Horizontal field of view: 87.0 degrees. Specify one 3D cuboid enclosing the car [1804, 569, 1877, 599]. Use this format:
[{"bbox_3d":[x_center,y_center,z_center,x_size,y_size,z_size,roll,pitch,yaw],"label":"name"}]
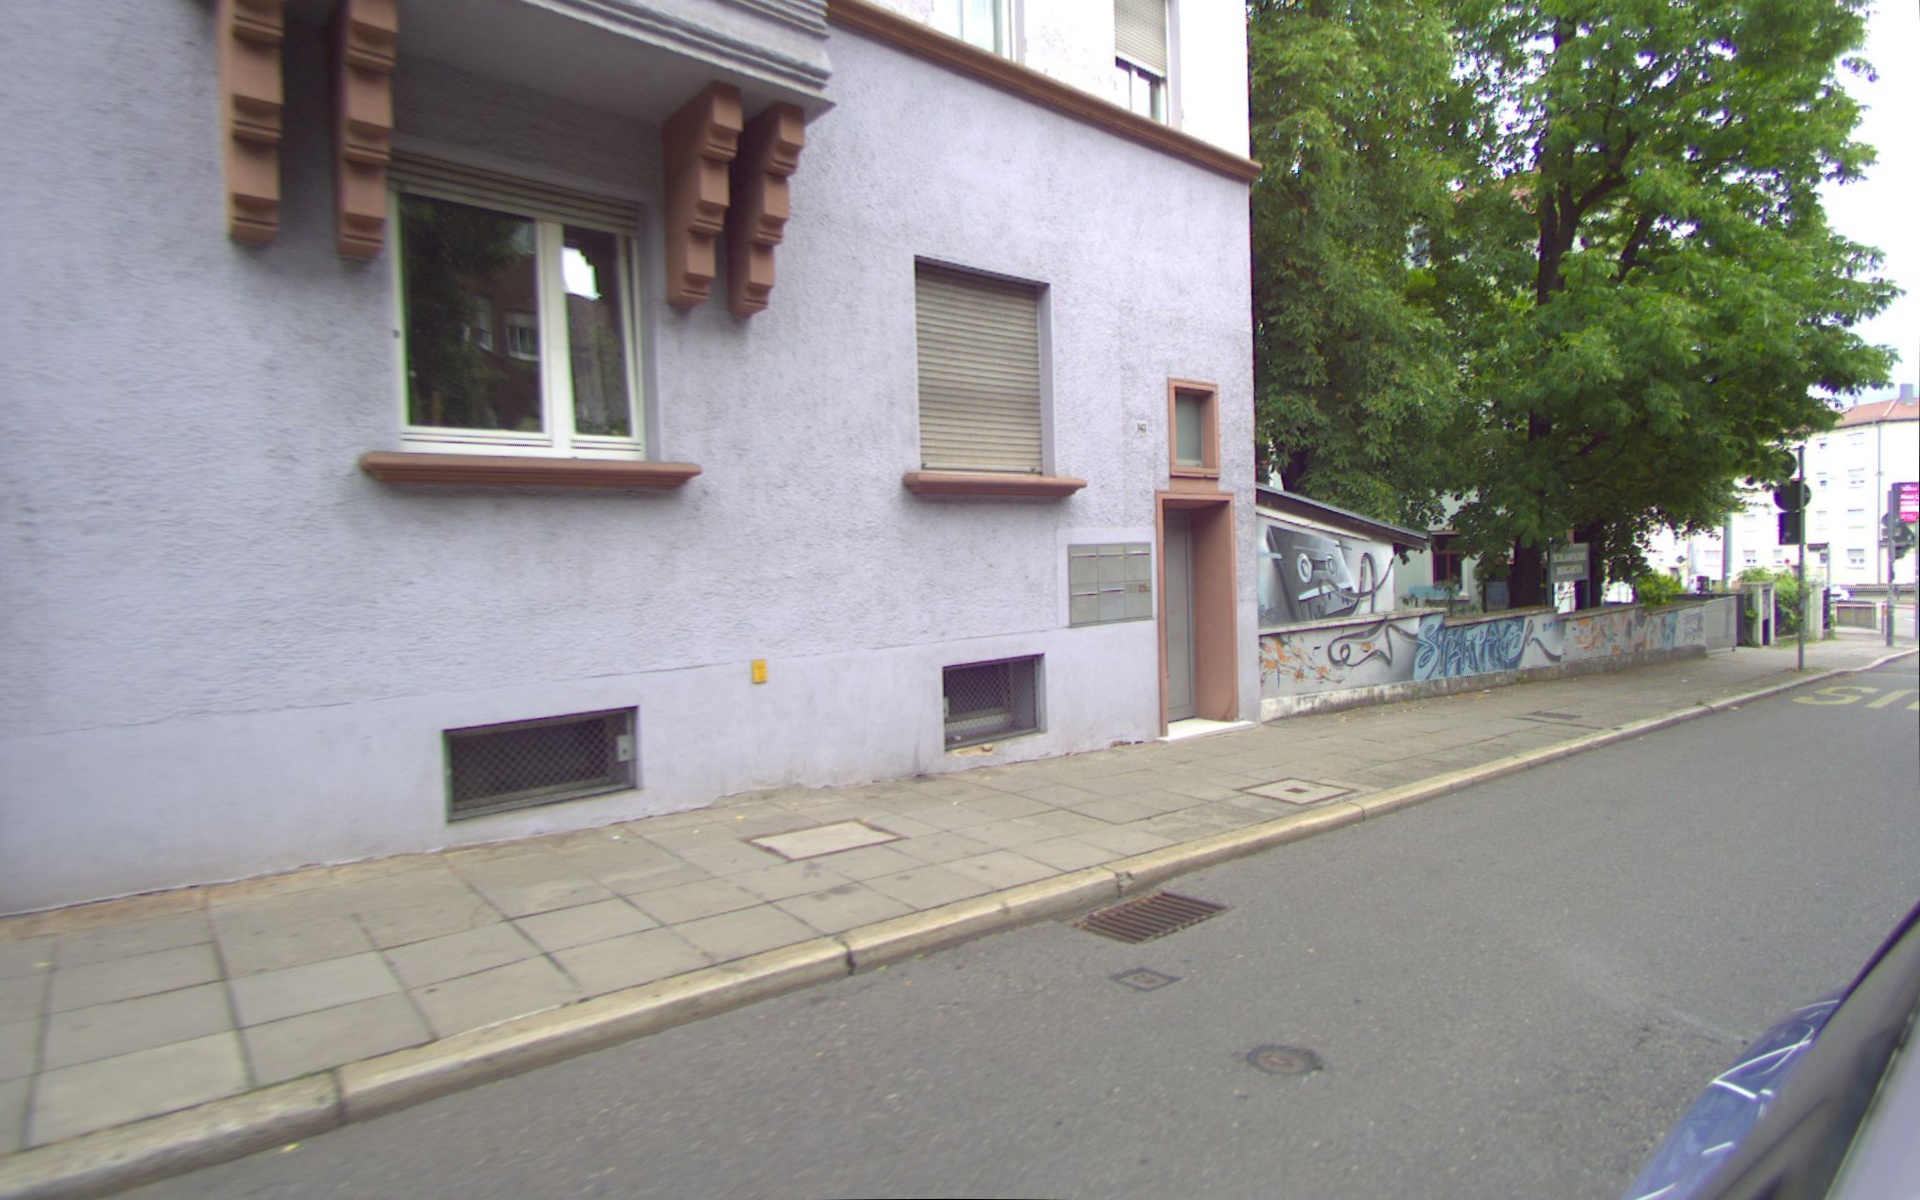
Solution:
[{"bbox_3d":[47.672,-0.870,54.884,1.934,1.570,4.001,-1,1,25],"label":"car"}]
